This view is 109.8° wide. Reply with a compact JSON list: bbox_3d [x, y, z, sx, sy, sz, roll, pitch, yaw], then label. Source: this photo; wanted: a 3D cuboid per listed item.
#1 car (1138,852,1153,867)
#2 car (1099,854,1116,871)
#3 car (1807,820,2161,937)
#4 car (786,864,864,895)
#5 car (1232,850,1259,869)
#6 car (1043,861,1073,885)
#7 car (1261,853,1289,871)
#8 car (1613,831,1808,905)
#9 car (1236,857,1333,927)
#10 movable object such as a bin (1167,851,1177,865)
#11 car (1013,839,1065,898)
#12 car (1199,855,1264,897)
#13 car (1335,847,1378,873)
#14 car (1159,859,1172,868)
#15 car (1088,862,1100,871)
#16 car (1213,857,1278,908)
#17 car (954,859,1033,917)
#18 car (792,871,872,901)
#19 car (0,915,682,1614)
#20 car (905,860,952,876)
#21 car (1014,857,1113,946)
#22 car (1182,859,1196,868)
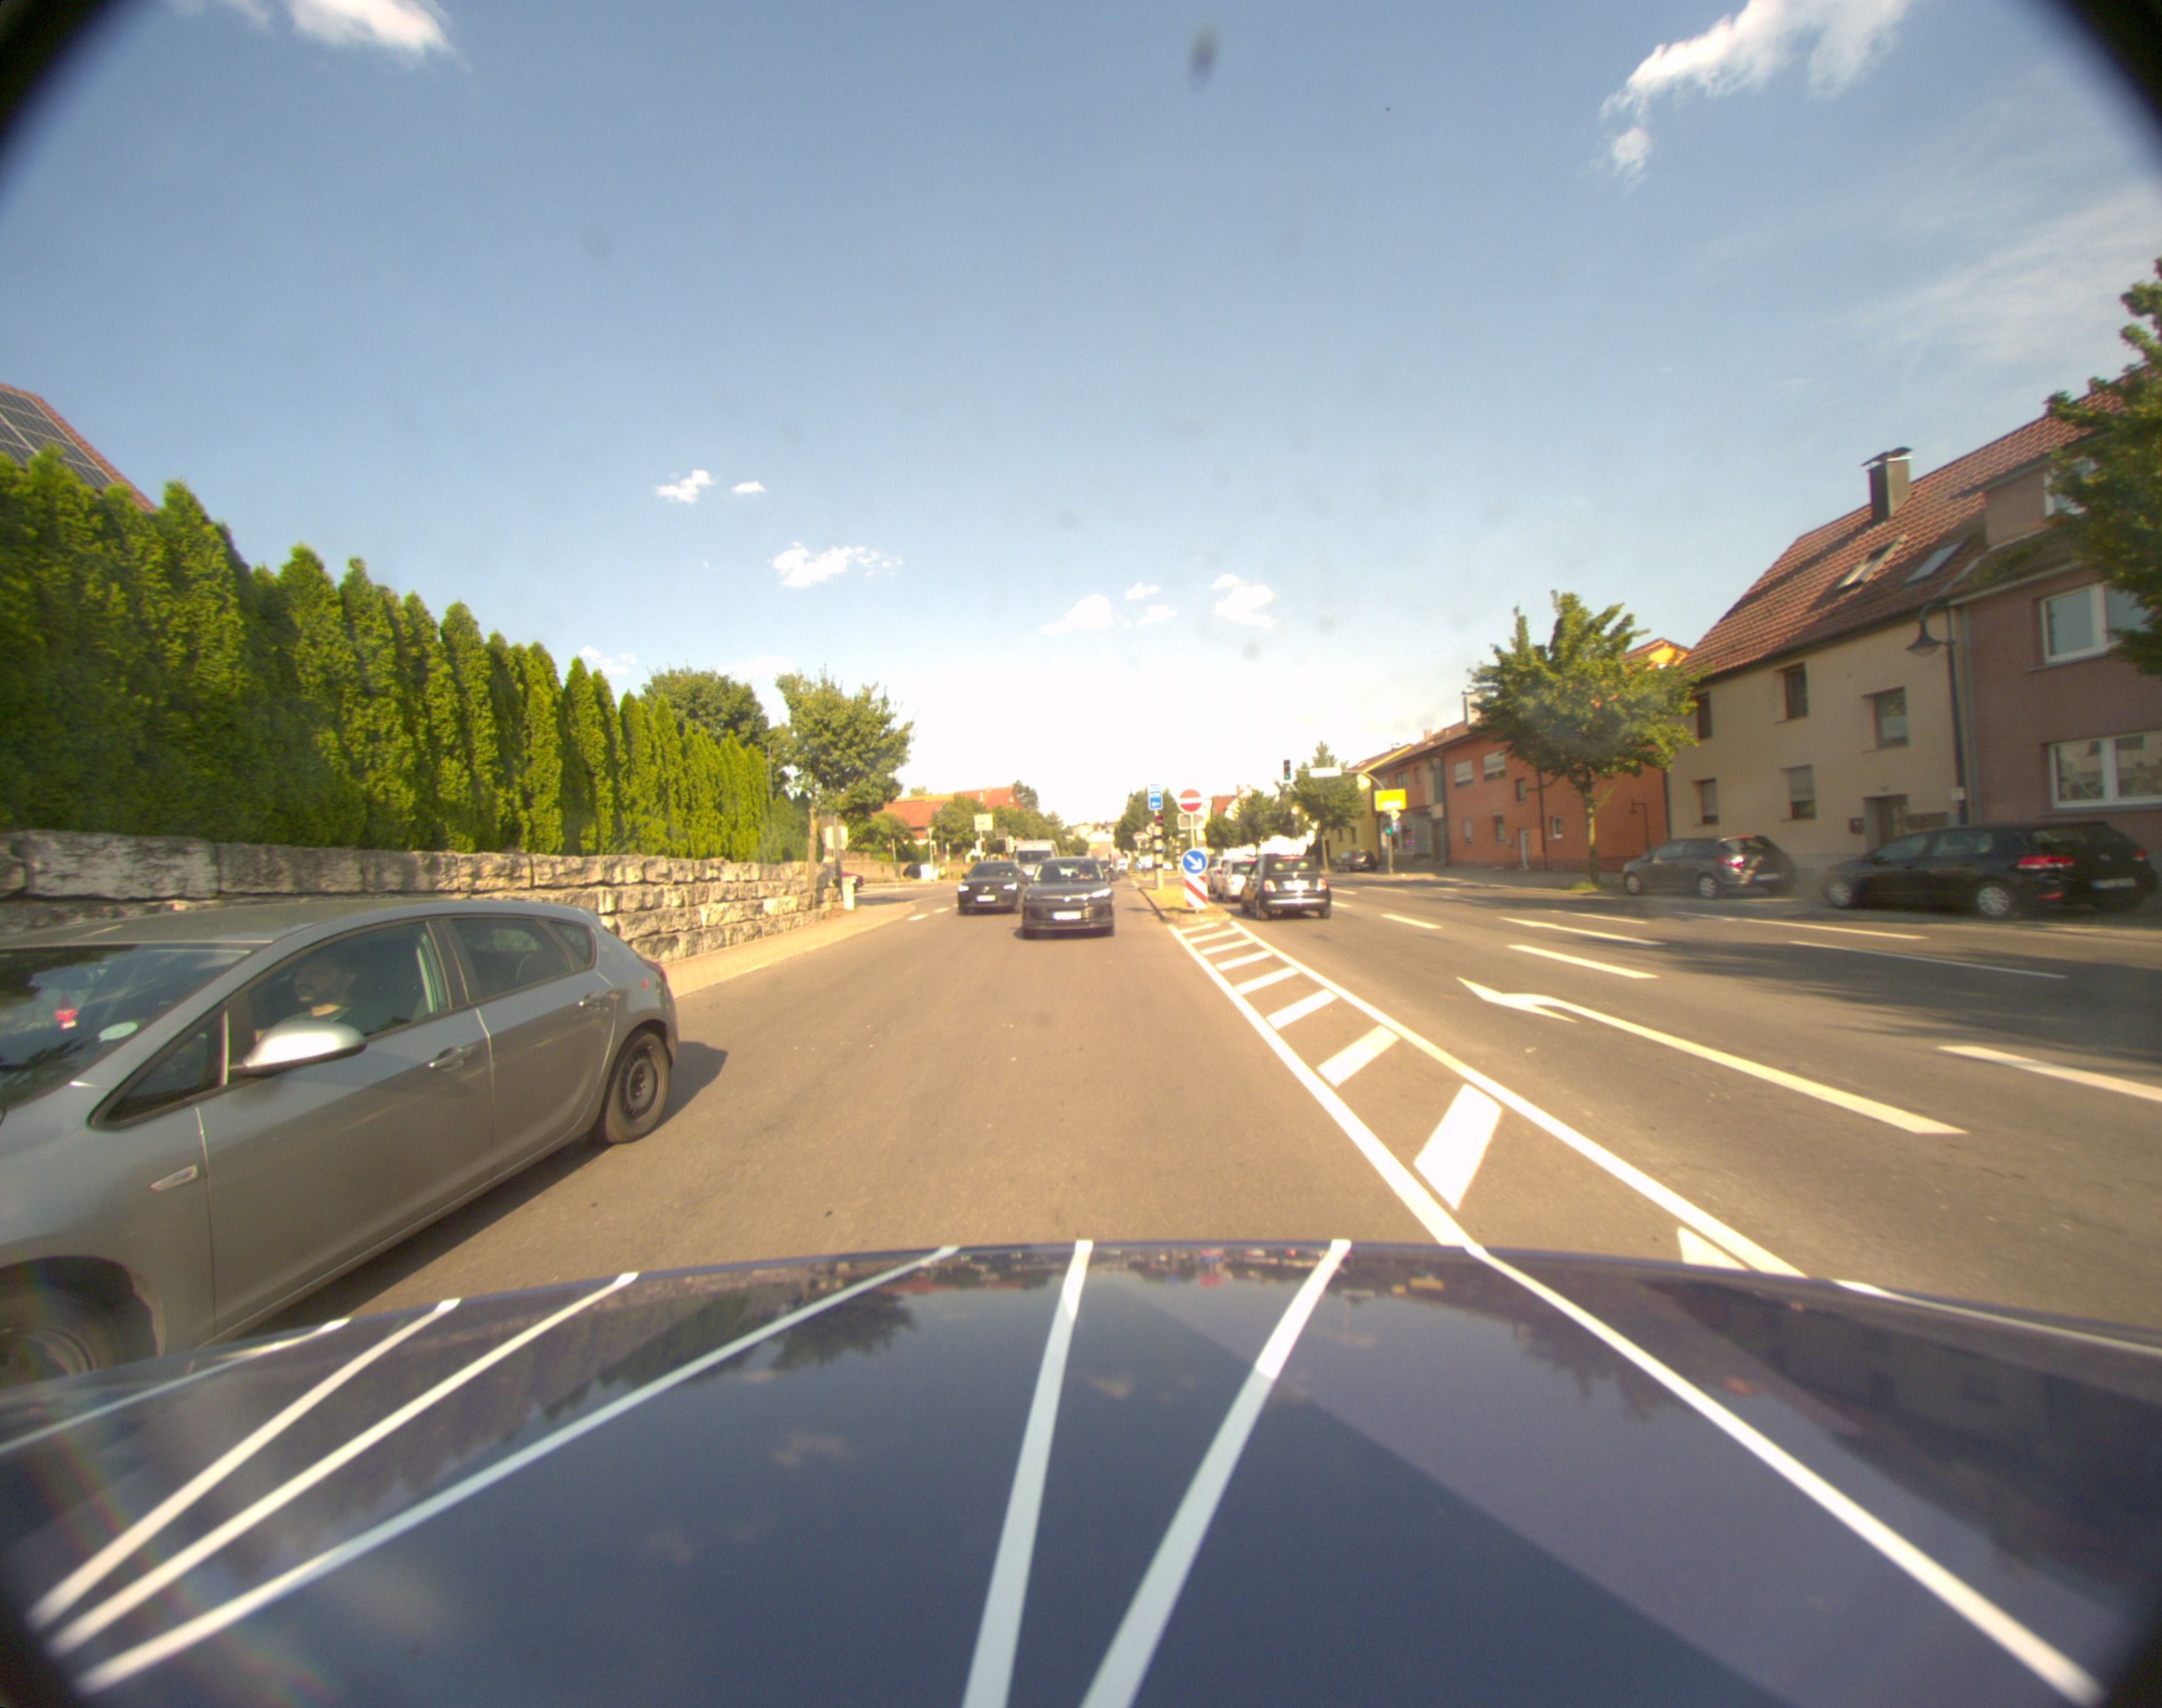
[{"bbox_3d":[11.352,0.982,133.236,2.090,2.461,5.479,-2,-1,0],"label":"car"},{"bbox_3d":[3.251,1.034,92.893,1.816,1.860,4.002,-2,-1,4],"label":"car"},{"bbox_3d":[14.739,0.352,12.686,1.669,1.523,3.904,-5,0,6],"label":"car"},{"bbox_3d":[-14.176,1.392,42.290,3.798,1.533,1.598,-2,0,-5],"label":"car"},{"bbox_3d":[15.312,0.514,70.810,1.690,1.602,4.414,-2,0,2],"label":"car"},{"bbox_3d":[-1.574,1.307,53.976,1.768,1.582,4.057,-3,-1,3],"label":"car"},{"bbox_3d":[18.697,0.780,73.261,1.859,1.586,4.462,-2,-1,5],"label":"car"},{"bbox_3d":[15.090,0.322,18.519,1.515,1.501,3.886,-4,-1,2],"label":"car"},{"bbox_3d":[4.757,0.845,18.220,1.535,1.453,3.507,-2,-1,4],"label":"car"},{"bbox_3d":[16.604,0.689,138.952,1.556,2.447,4.979,-2,0,4],"label":"movable object such as a bin"},{"bbox_3d":[-2.008,0.677,38.210,2.040,2.642,6.649,-2,0,1],"label":"car"},{"bbox_3d":[5.946,0.835,30.556,1.839,1.479,4.567,-2,-1,2],"label":"car"},{"bbox_3d":[17.336,0.370,47.946,1.595,1.430,3.777,-7,-1,6],"label":"car"},{"bbox_3d":[13.606,1.516,122.180,1.761,1.403,4.001,-2,-1,2],"label":"car"},{"bbox_3d":[2.103,2.050,122.563,1.529,1.353,2.794,-2,-1,6],"label":"car"},{"bbox_3d":[5.226,0.864,24.516,1.592,1.419,3.579,-2,0,5],"label":"car"},{"bbox_3d":[-2.646,1.009,23.975,1.792,1.596,4.057,-2,-1,3],"label":"car"},{"bbox_3d":[-15.159,1.947,46.367,4.251,1.616,1.862,-2,0,-3],"label":"car"},{"bbox_3d":[-3.337,1.079,2.676,1.652,1.414,4.144,-1,-1,0],"label":"car"},{"bbox_3d":[-14.926,1.380,74.365,4.072,1.447,1.681,-3,0,15],"label":"car"},{"bbox_3d":[-0.248,0.921,16.275,1.768,1.582,4.057,-3,-1,3],"label":"car"},{"bbox_3d":[17.522,1.490,123.289,1.761,1.403,4.001,-2,-1,2],"label":"car"}]
